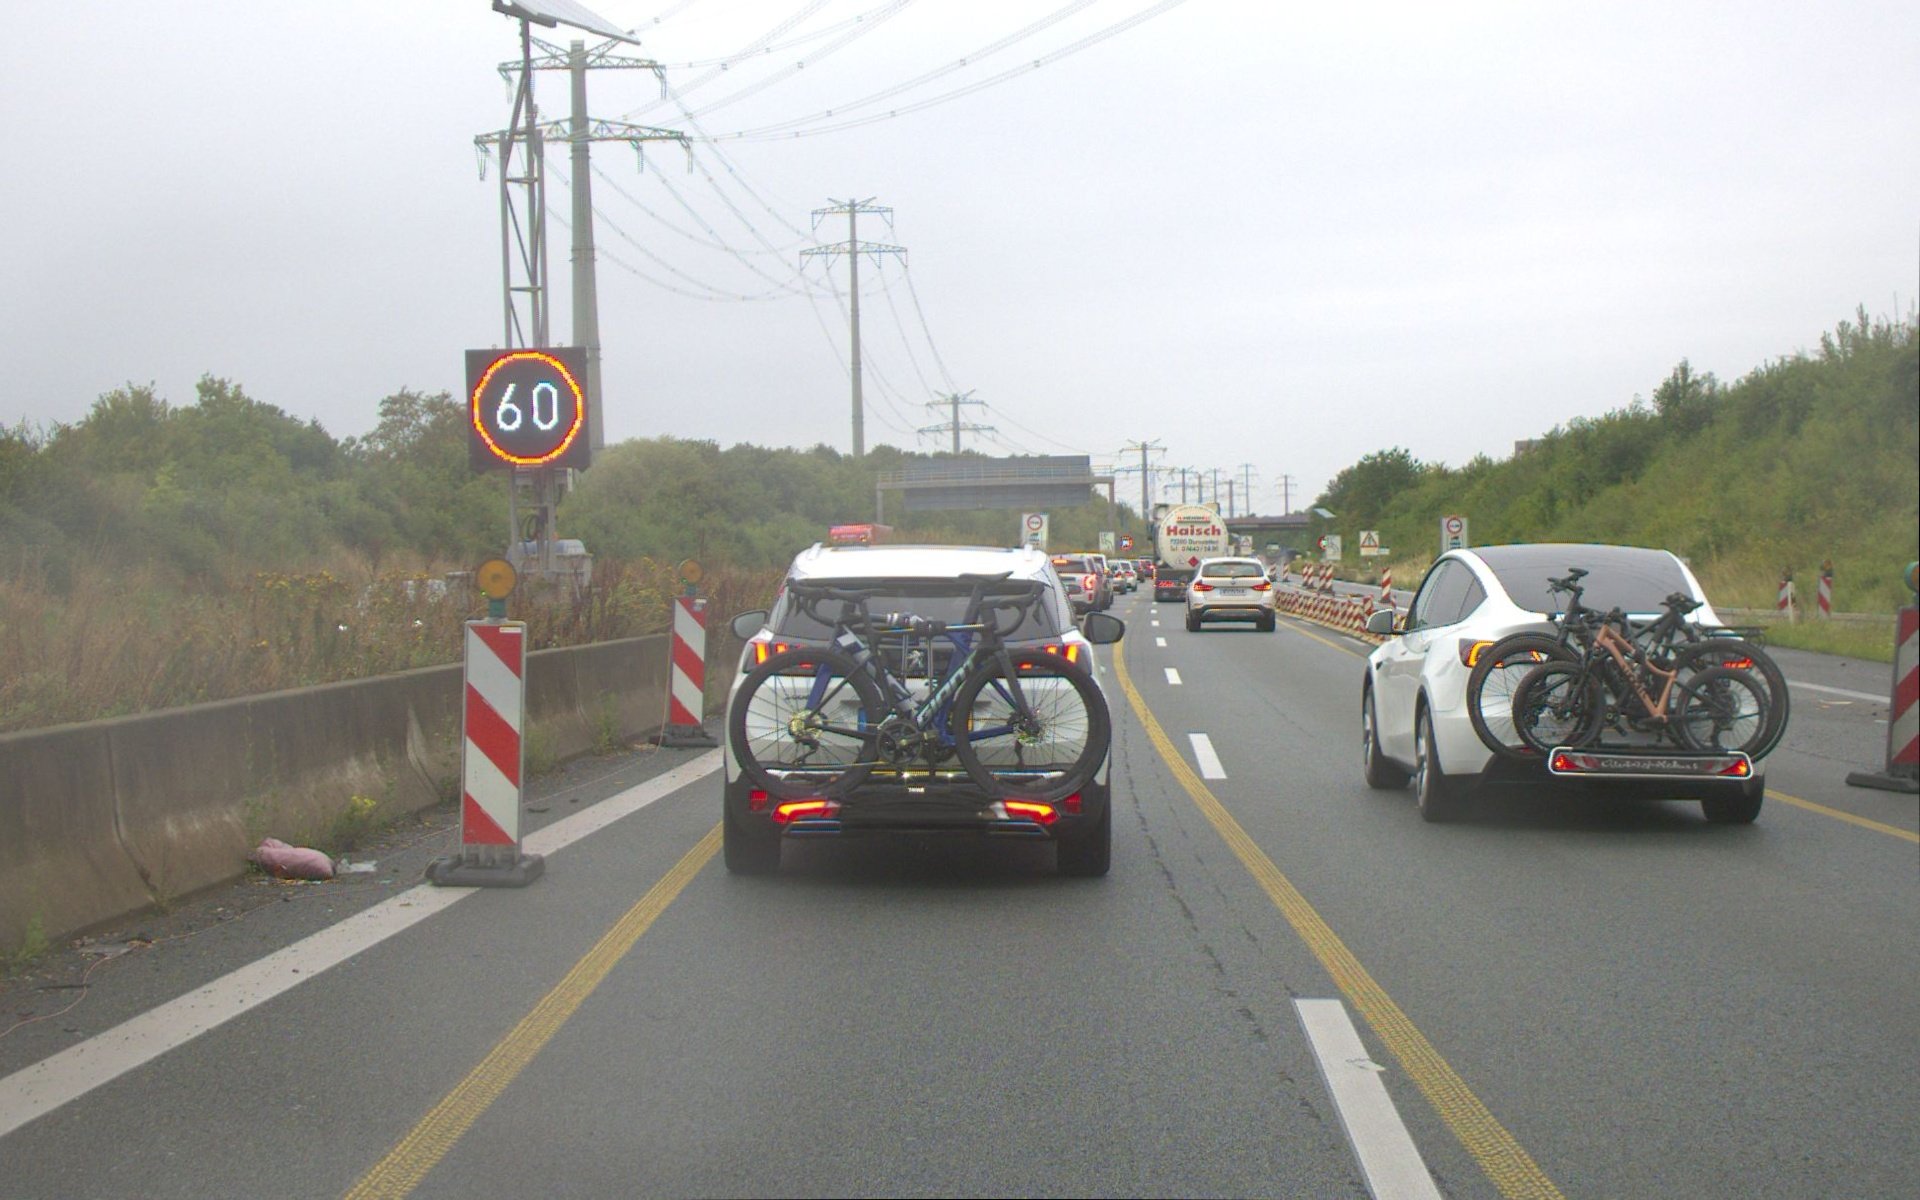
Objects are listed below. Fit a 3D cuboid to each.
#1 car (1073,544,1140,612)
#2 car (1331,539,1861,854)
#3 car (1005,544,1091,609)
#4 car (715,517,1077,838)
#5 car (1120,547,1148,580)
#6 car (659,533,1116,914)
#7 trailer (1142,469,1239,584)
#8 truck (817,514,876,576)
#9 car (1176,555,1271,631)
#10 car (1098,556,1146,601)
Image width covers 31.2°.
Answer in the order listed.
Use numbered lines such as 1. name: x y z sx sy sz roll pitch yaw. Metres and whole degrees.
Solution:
1. car: 4.804 -0.744 113.490 1.993 2.006 4.001 1 3 0
2. car: 3.585 0.464 20.583 2.045 1.590 5.802 1 1 0
3. car: 2.153 -0.596 84.785 1.993 1.578 4.000 0 1 0
4. car: -0.317 0.402 21.324 1.993 1.754 4.000 -1 1 1
5. car: 10.696 -2.242 211.583 1.654 2.007 4.000 0 1 4
6. car: -0.228 0.491 16.859 1.928 1.605 4.595 0 1 2
7. trailer: 8.167 -2.528 122.905 2.637 3.880 10.543 1 0 0
8. truck: -6.567 -3.163 199.445 3.024 3.519 4.926 1 0 2
9. car: 5.473 -0.172 71.768 1.870 1.529 4.196 0 1 3
10. car: 7.449 -0.989 158.230 1.993 2.007 4.000 1 0 0
